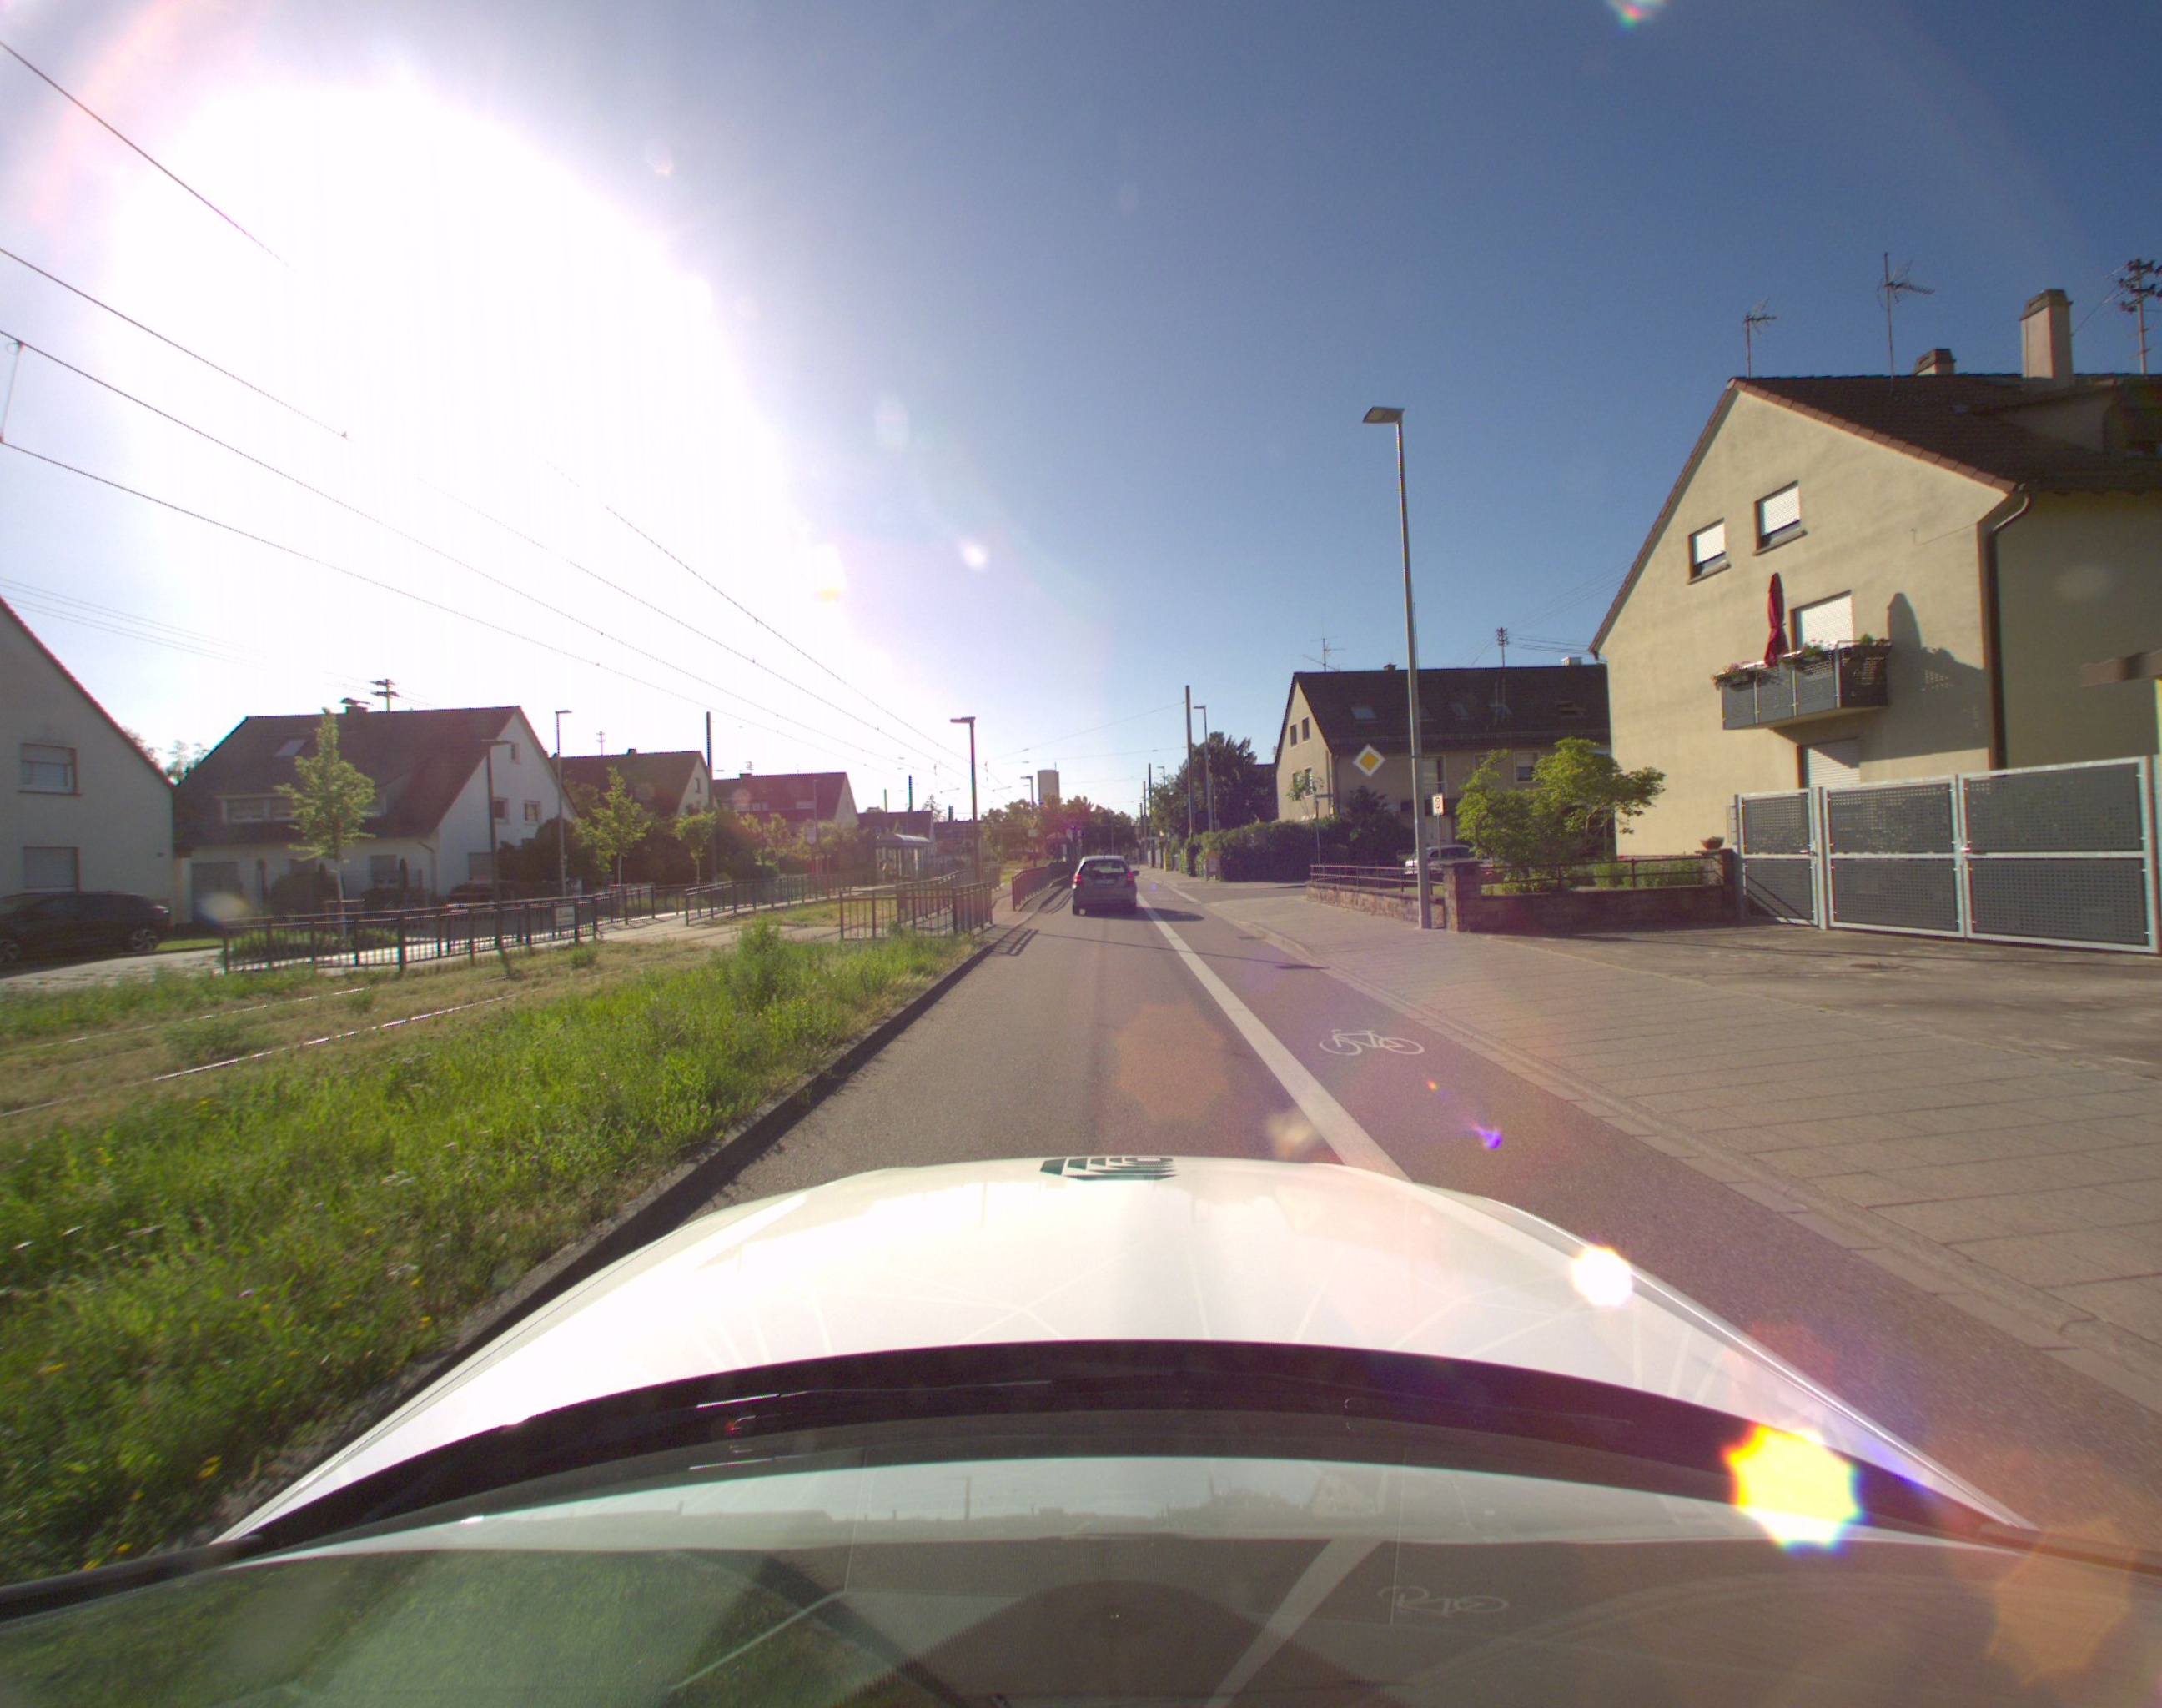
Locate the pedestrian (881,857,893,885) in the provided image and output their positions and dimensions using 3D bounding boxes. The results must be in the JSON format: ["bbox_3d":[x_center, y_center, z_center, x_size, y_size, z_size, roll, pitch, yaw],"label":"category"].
[{"bbox_3d":[-11.799,1.030,49.517,0.518,1.708,0.580,-3,0,-3],"label":"pedestrian"}]

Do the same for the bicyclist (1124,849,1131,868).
[{"bbox_3d":[4.176,0.411,73.641,0.596,1.701,0.684,-1,-1,2],"label":"bicyclist"}]

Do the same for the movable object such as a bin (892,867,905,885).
[{"bbox_3d":[-10.707,1.301,47.806,0.545,0.988,0.741,-3,0,-3],"label":"movable object such as a bin"}]

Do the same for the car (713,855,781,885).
[{"bbox_3d":[-23.242,1.089,56.802,3.982,1.970,1.929,-1,-1,-6],"label":"car"}]

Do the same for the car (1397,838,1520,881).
[{"bbox_3d":[15.277,0.243,33.084,4.131,1.511,1.799,-3,-2,-4],"label":"car"}]

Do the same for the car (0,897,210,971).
[{"bbox_3d":[-25.046,1.938,19.865,1.927,1.450,5.164,-3,0,2],"label":"car"}]

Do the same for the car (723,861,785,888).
[{"bbox_3d":[-23.906,1.494,59.607,3.840,1.806,1.795,-1,-1,-6],"label":"car"}]

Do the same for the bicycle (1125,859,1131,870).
[{"bbox_3d":[4.294,0.933,73.868,0.473,0.961,1.657,-1,-1,2],"label":"bicycle"}]

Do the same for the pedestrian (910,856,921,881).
[{"bbox_3d":[-11.494,1.019,56.579,0.498,1.696,0.771,-5,0,2],"label":"pedestrian"}]

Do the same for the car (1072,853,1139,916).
[{"bbox_3d":[0.643,0.783,22.097,1.664,1.536,3.487,-1,-1,1],"label":"car"}]

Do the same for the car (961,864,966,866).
[{"bbox_3d":[-20.116,1.864,139.209,0.695,0.336,0.330,-1,-1,6],"label":"car"}]

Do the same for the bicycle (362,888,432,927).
[{"bbox_3d":[-26.410,2.062,31.474,1.985,1.365,0.703,-3,-1,-6],"label":"bicycle"}]

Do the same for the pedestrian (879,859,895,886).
[{"bbox_3d":[-11.347,1.078,47.670,0.673,1.535,0.748,-3,0,-3],"label":"pedestrian"}]
